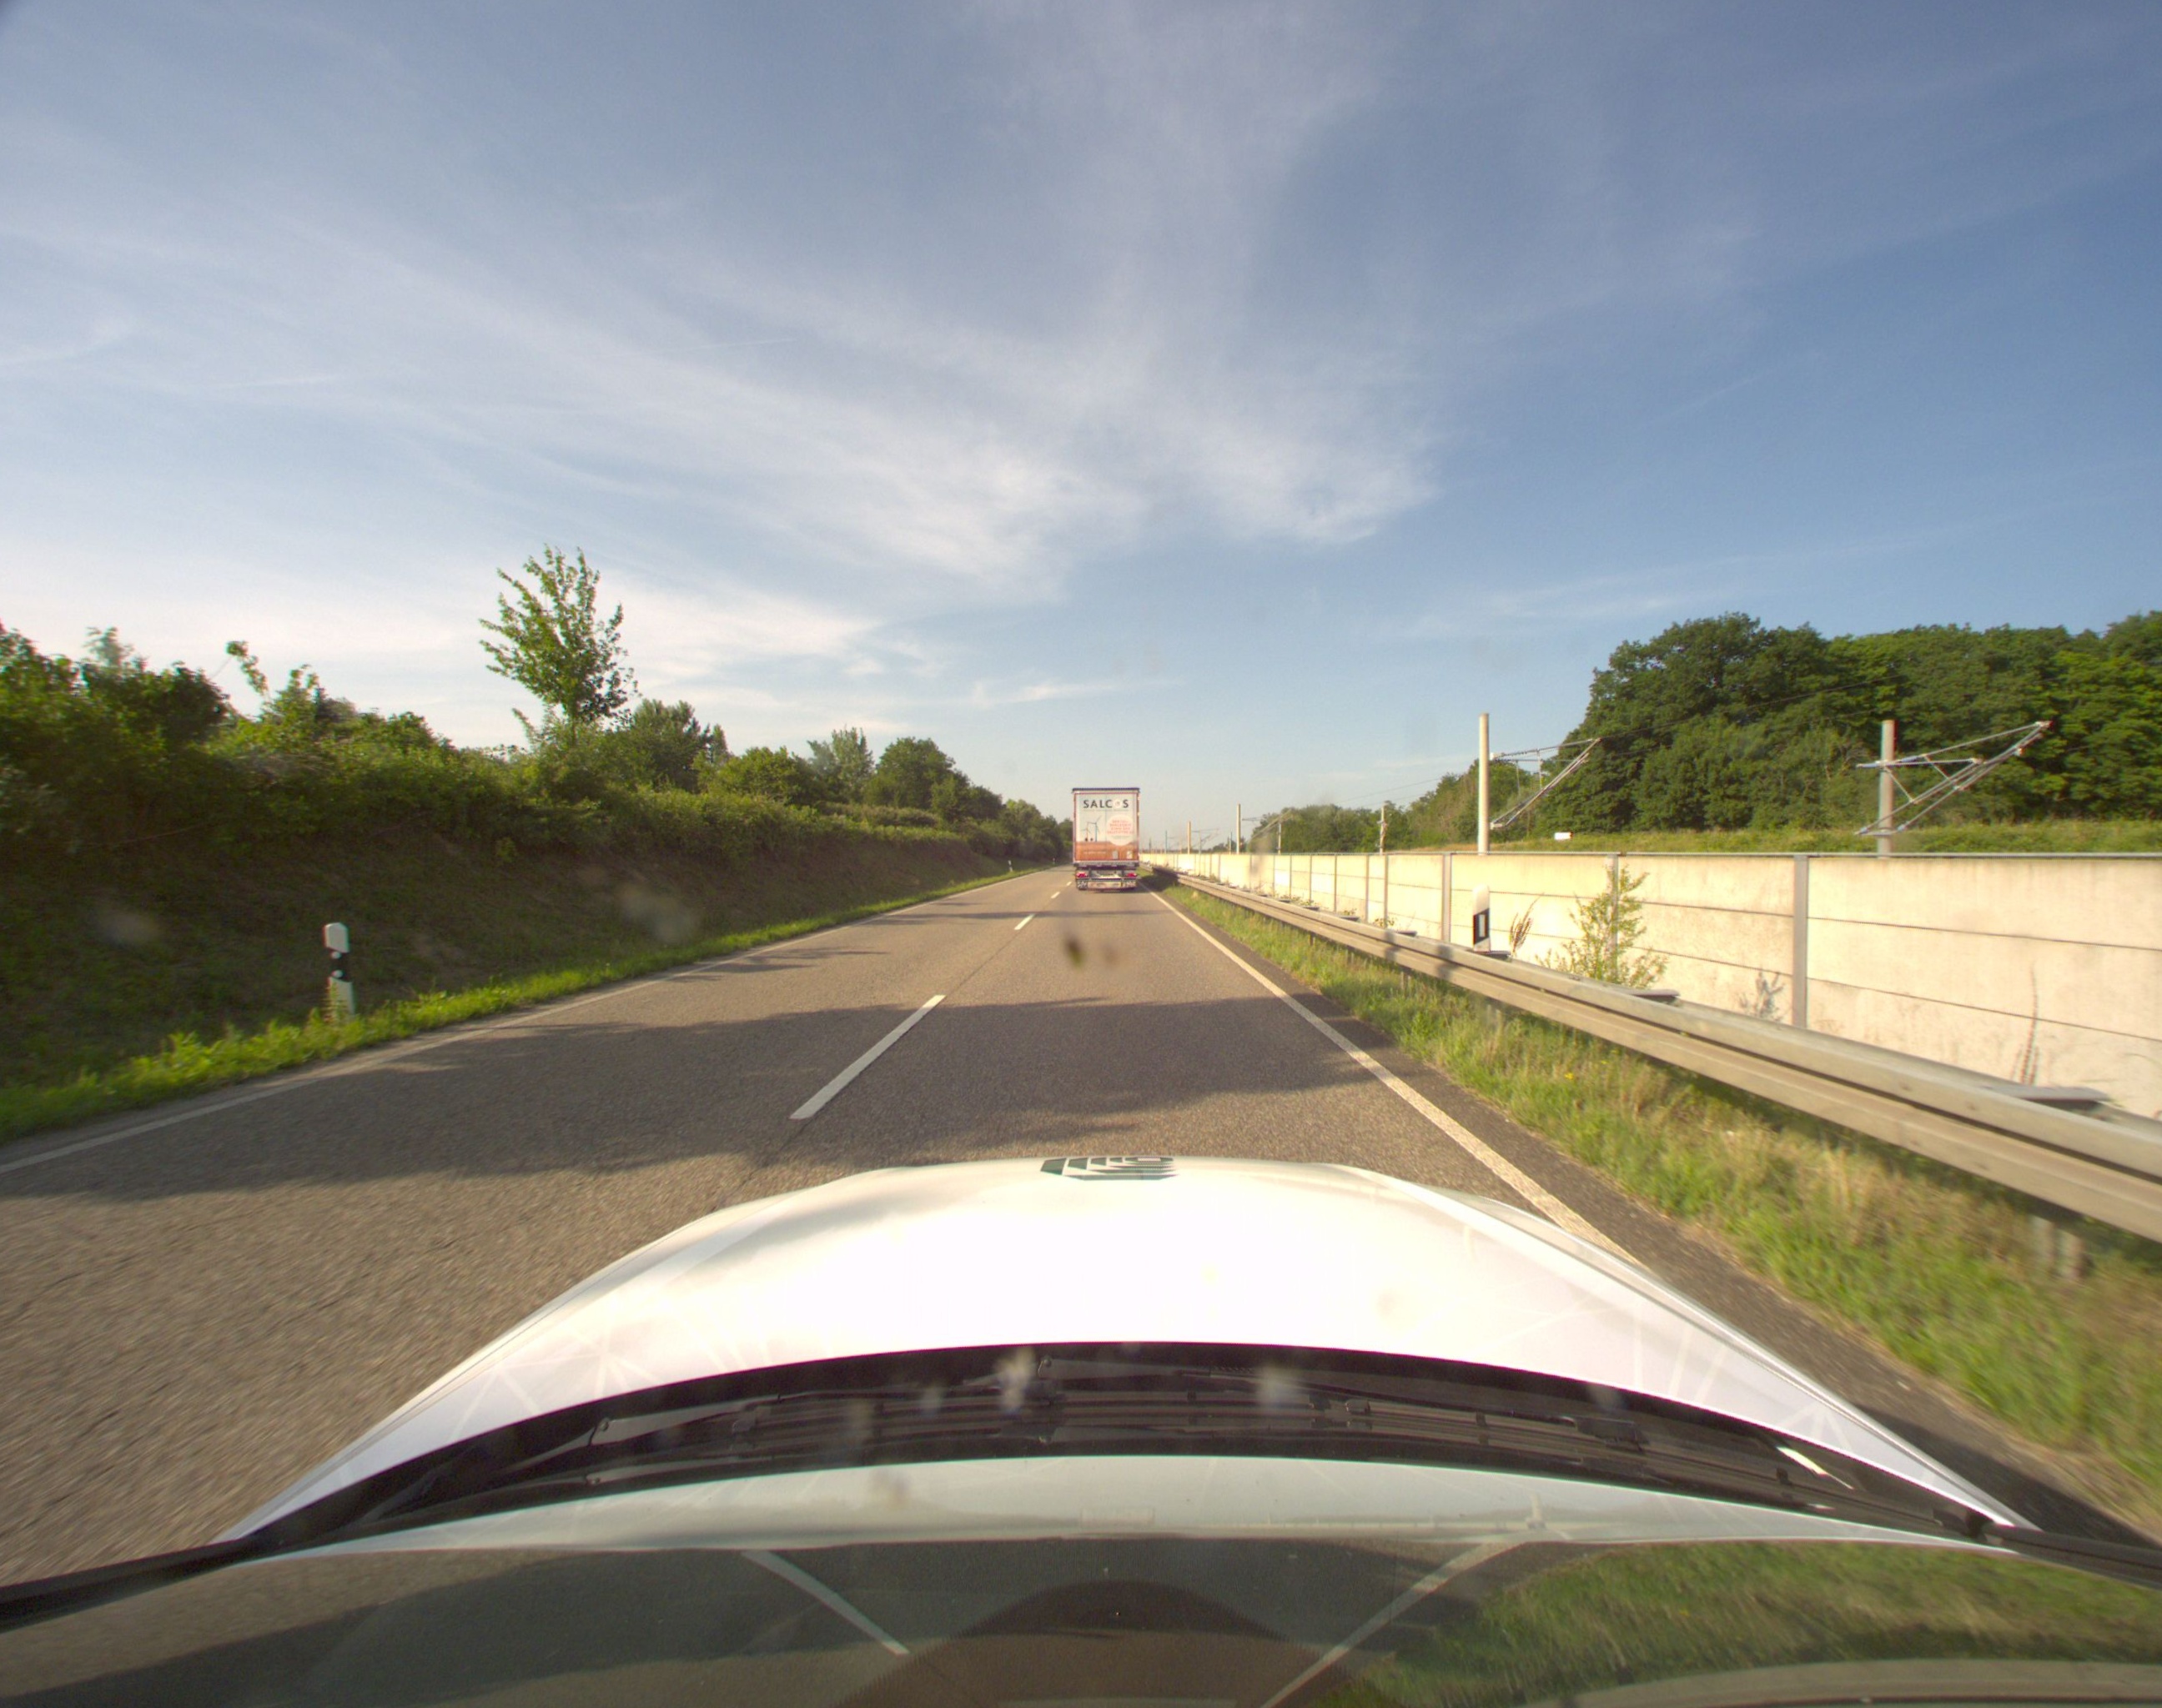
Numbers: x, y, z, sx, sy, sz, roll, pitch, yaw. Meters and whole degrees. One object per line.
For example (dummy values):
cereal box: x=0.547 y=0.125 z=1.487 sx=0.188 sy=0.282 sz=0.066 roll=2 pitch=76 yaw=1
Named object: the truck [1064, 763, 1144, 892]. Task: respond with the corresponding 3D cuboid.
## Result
truck: x=0.934 y=-1.014 z=37.101 sx=3.023 sy=4.920 sz=11.684 roll=-1 pitch=0 yaw=0
